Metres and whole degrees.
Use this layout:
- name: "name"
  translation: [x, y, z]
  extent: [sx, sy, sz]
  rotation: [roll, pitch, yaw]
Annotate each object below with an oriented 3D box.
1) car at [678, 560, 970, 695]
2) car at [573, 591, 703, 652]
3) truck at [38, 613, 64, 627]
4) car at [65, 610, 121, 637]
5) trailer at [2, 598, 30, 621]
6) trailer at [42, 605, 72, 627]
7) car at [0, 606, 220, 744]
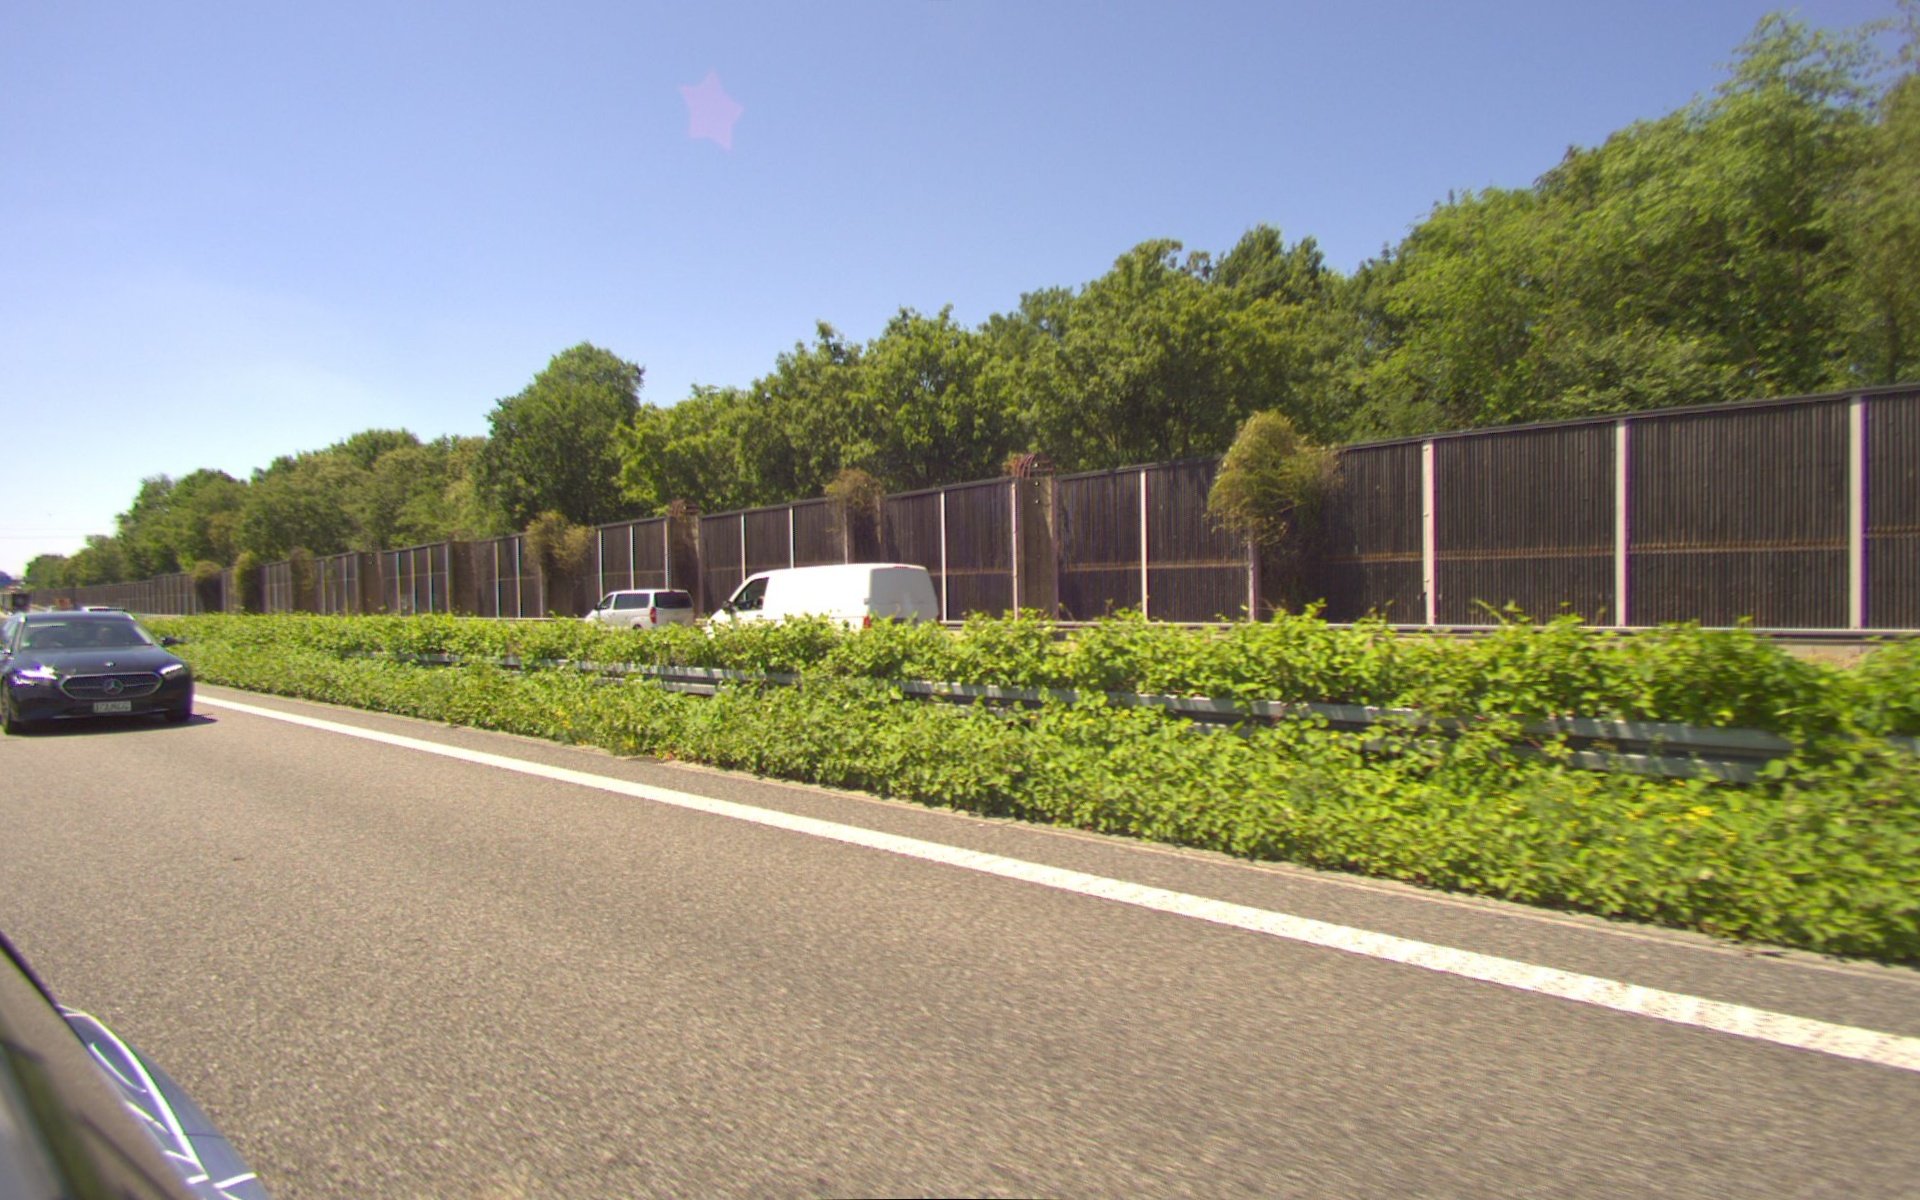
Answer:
- name: "car"
  translation: [-2.515, 0.443, 17.700]
  extent: [5.341, 2.029, 1.973]
  rotation: [-1, 0, 40]
- name: "car"
  translation: [-11.638, 0.758, 36.364]
  extent: [5.383, 2.029, 1.973]
  rotation: [-1, 0, 41]
- name: "truck"
  translation: [-122.762, 2.696, 136.683]
  extent: [6.210, 1.830, 2.078]
  rotation: [-1, 0, 43]
- name: "car"
  translation: [-56.662, 1.505, 66.097]
  extent: [5.041, 1.660, 1.973]
  rotation: [-1, 0, 40]
- name: "trailer"
  translation: [-174.672, 1.794, 187.109]
  extent: [13.333, 4.123, 2.867]
  rotation: [-1, 0, 43]
- name: "trailer"
  translation: [-118.137, 2.121, 132.386]
  extent: [6.508, 2.797, 2.218]
  rotation: [-1, 0, 42]
- name: "car"
  translation: [-12.139, 0.877, 13.888]
  extent: [5.817, 1.518, 1.924]
  rotation: [-1, 0, 40]
